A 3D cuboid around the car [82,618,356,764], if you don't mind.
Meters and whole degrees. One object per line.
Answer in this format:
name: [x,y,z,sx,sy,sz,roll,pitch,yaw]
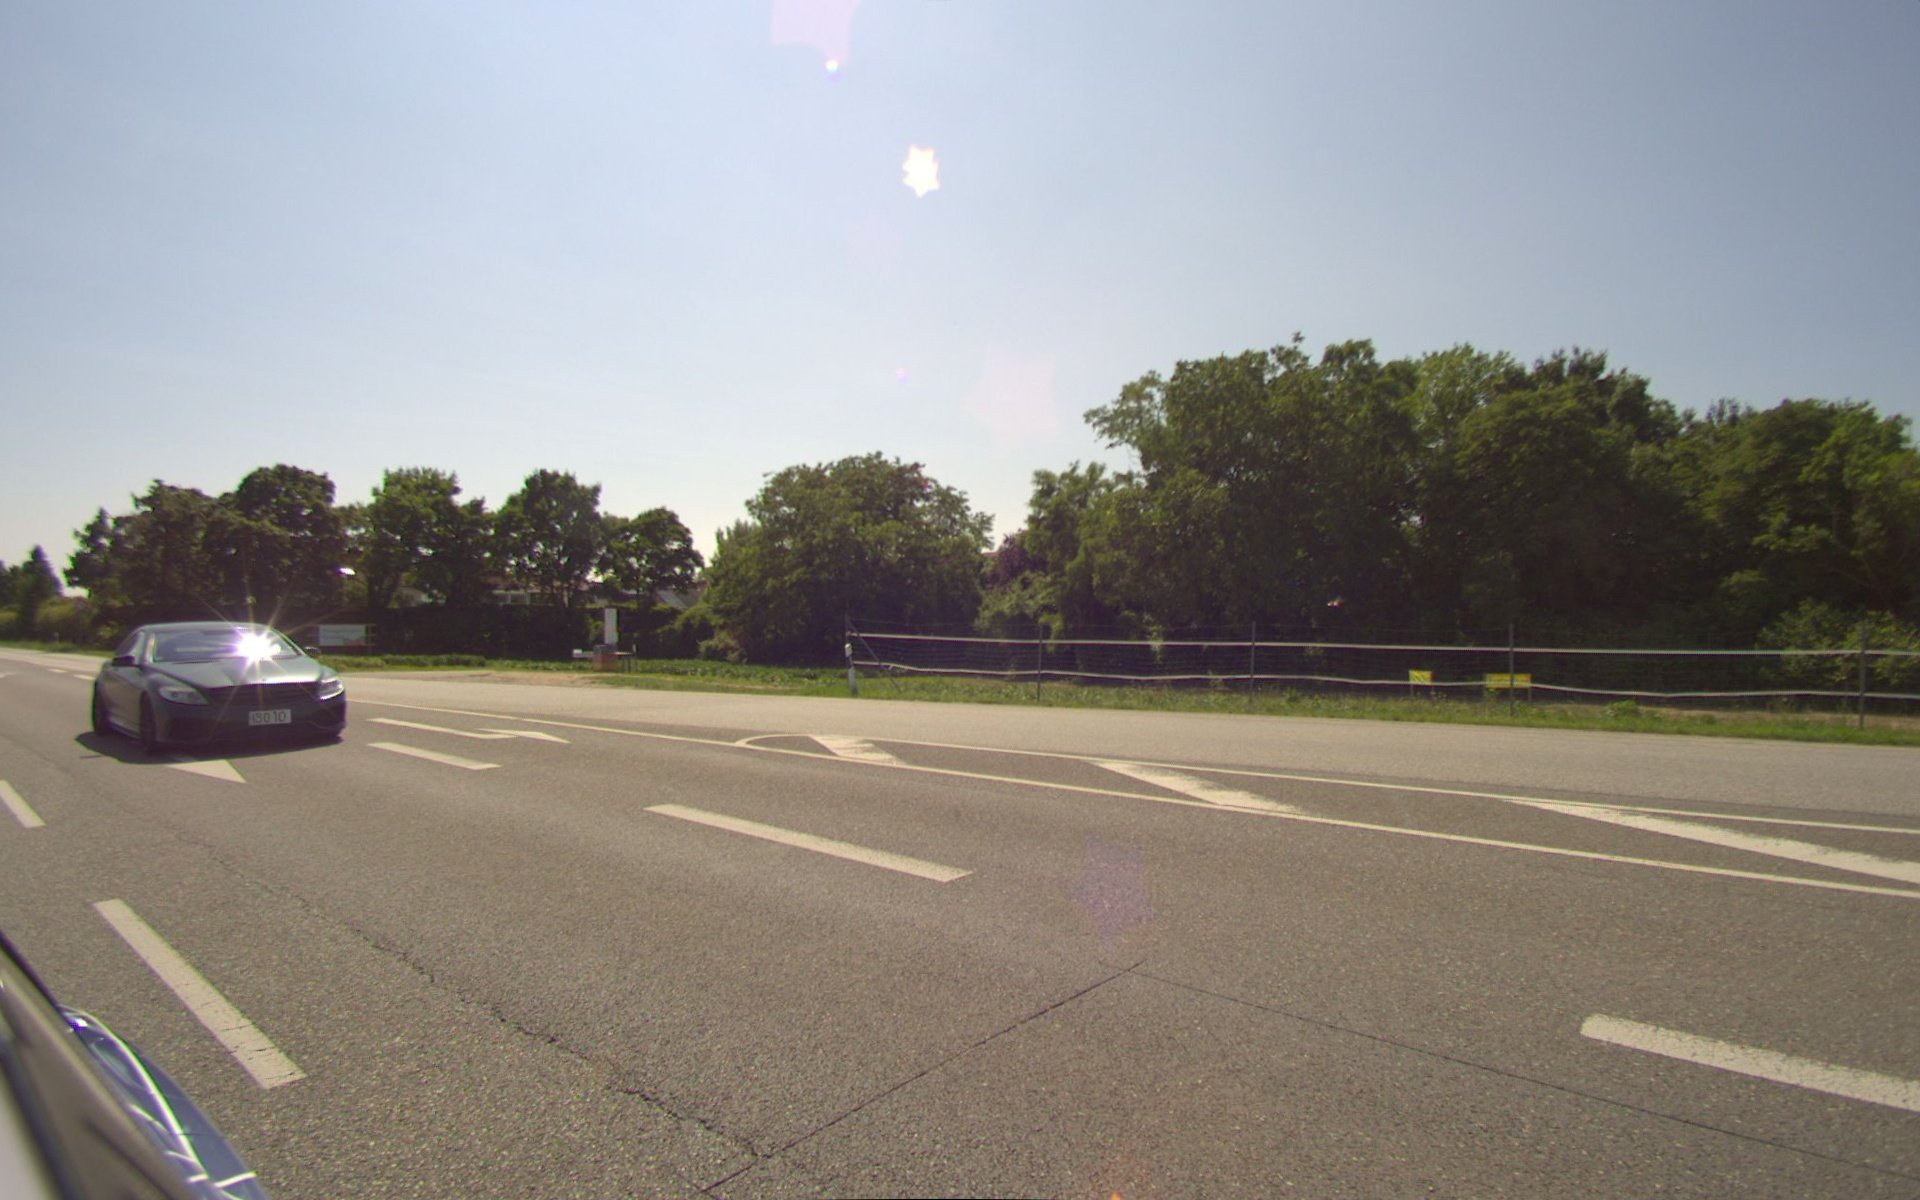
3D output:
car: [-9.336,0.992,12.568,4.875,1.461,1.792,-2,-1,42]
